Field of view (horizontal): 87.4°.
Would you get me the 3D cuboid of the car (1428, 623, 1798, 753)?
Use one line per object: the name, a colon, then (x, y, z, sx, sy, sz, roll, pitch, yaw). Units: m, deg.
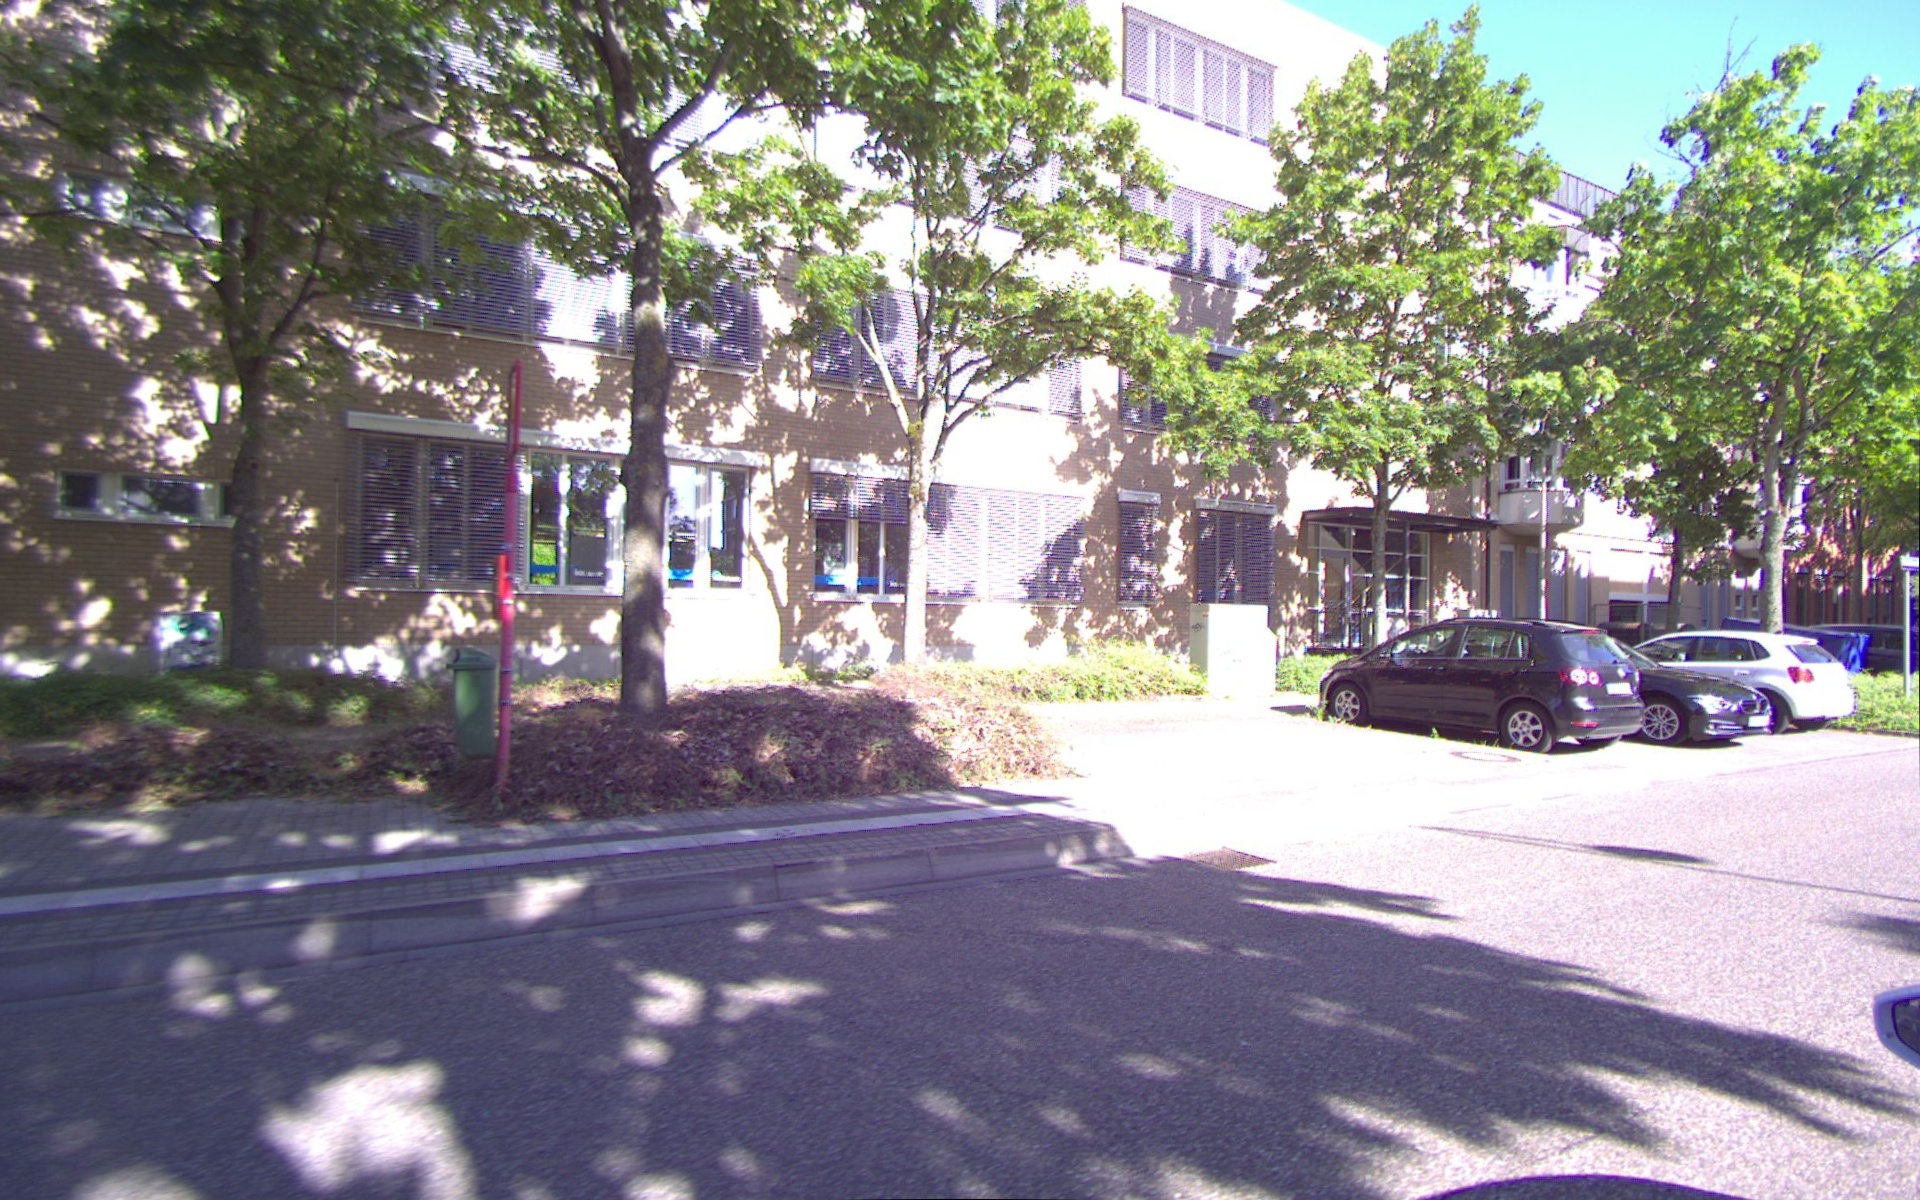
car: (9.226, 1.144, 14.571, 1.780, 1.421, 4.132, 2, 0, -30)

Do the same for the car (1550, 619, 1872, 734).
car: (11.879, 1.127, 16.151, 1.733, 1.471, 3.738, 2, 0, -28)

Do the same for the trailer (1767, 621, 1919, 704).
trailer: (19.772, 1.312, 20.939, 1.836, 1.593, 4.235, 2, 0, -33)

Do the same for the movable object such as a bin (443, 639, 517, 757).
movable object such as a bin: (-3.247, 0.647, 6.784, 0.403, 0.740, 0.439, 2, 0, -30)

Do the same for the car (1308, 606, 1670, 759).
car: (6.866, 0.968, 13.478, 1.708, 1.591, 3.967, 2, 1, -30)

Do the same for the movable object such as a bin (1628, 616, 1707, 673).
movable object such as a bin: (23.459, 1.453, 33.339, 1.643, 1.820, 1.593, 2, -1, -28)

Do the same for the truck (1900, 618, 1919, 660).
truck: (64.983, 2.549, 64.648, 2.549, 2.740, 6.073, 2, -2, -31)

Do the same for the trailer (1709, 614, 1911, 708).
trailer: (17.348, 1.194, 20.592, 1.692, 1.710, 2.713, 2, 0, -29)

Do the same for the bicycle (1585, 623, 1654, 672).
bicycle: (20.414, 1.455, 31.120, 1.702, 1.427, 0.612, 2, 0, 38)

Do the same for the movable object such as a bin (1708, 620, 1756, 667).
movable object such as a bin: (27.610, 1.555, 35.925, 1.431, 1.641, 1.134, 2, -2, -42)
